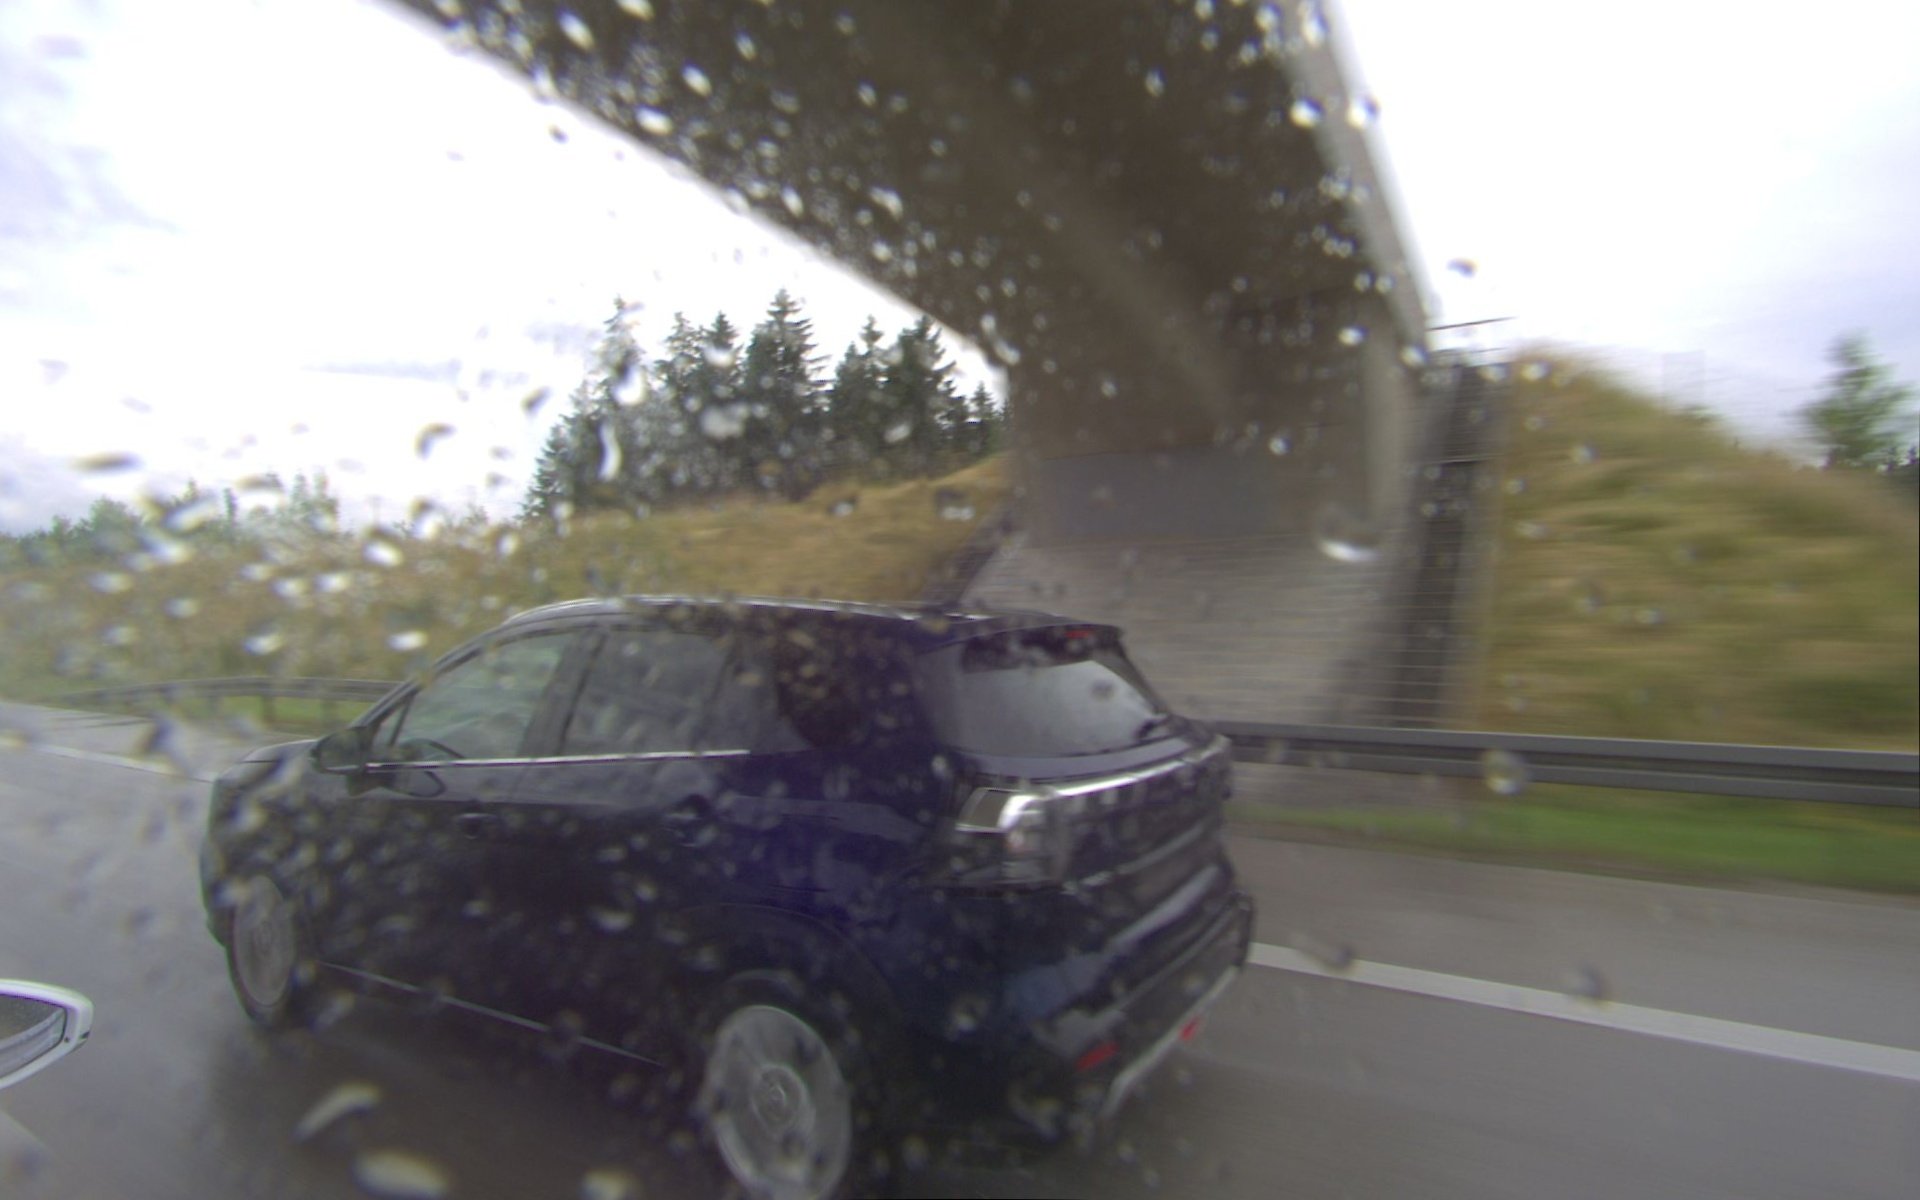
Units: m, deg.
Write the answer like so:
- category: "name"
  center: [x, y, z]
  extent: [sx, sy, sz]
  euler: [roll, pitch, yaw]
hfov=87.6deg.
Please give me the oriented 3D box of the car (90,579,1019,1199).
- category: "car"
  center: [-1.770, 0.786, 4.236]
  extent: [3.579, 1.596, 1.891]
  euler: [0, -2, 31]
